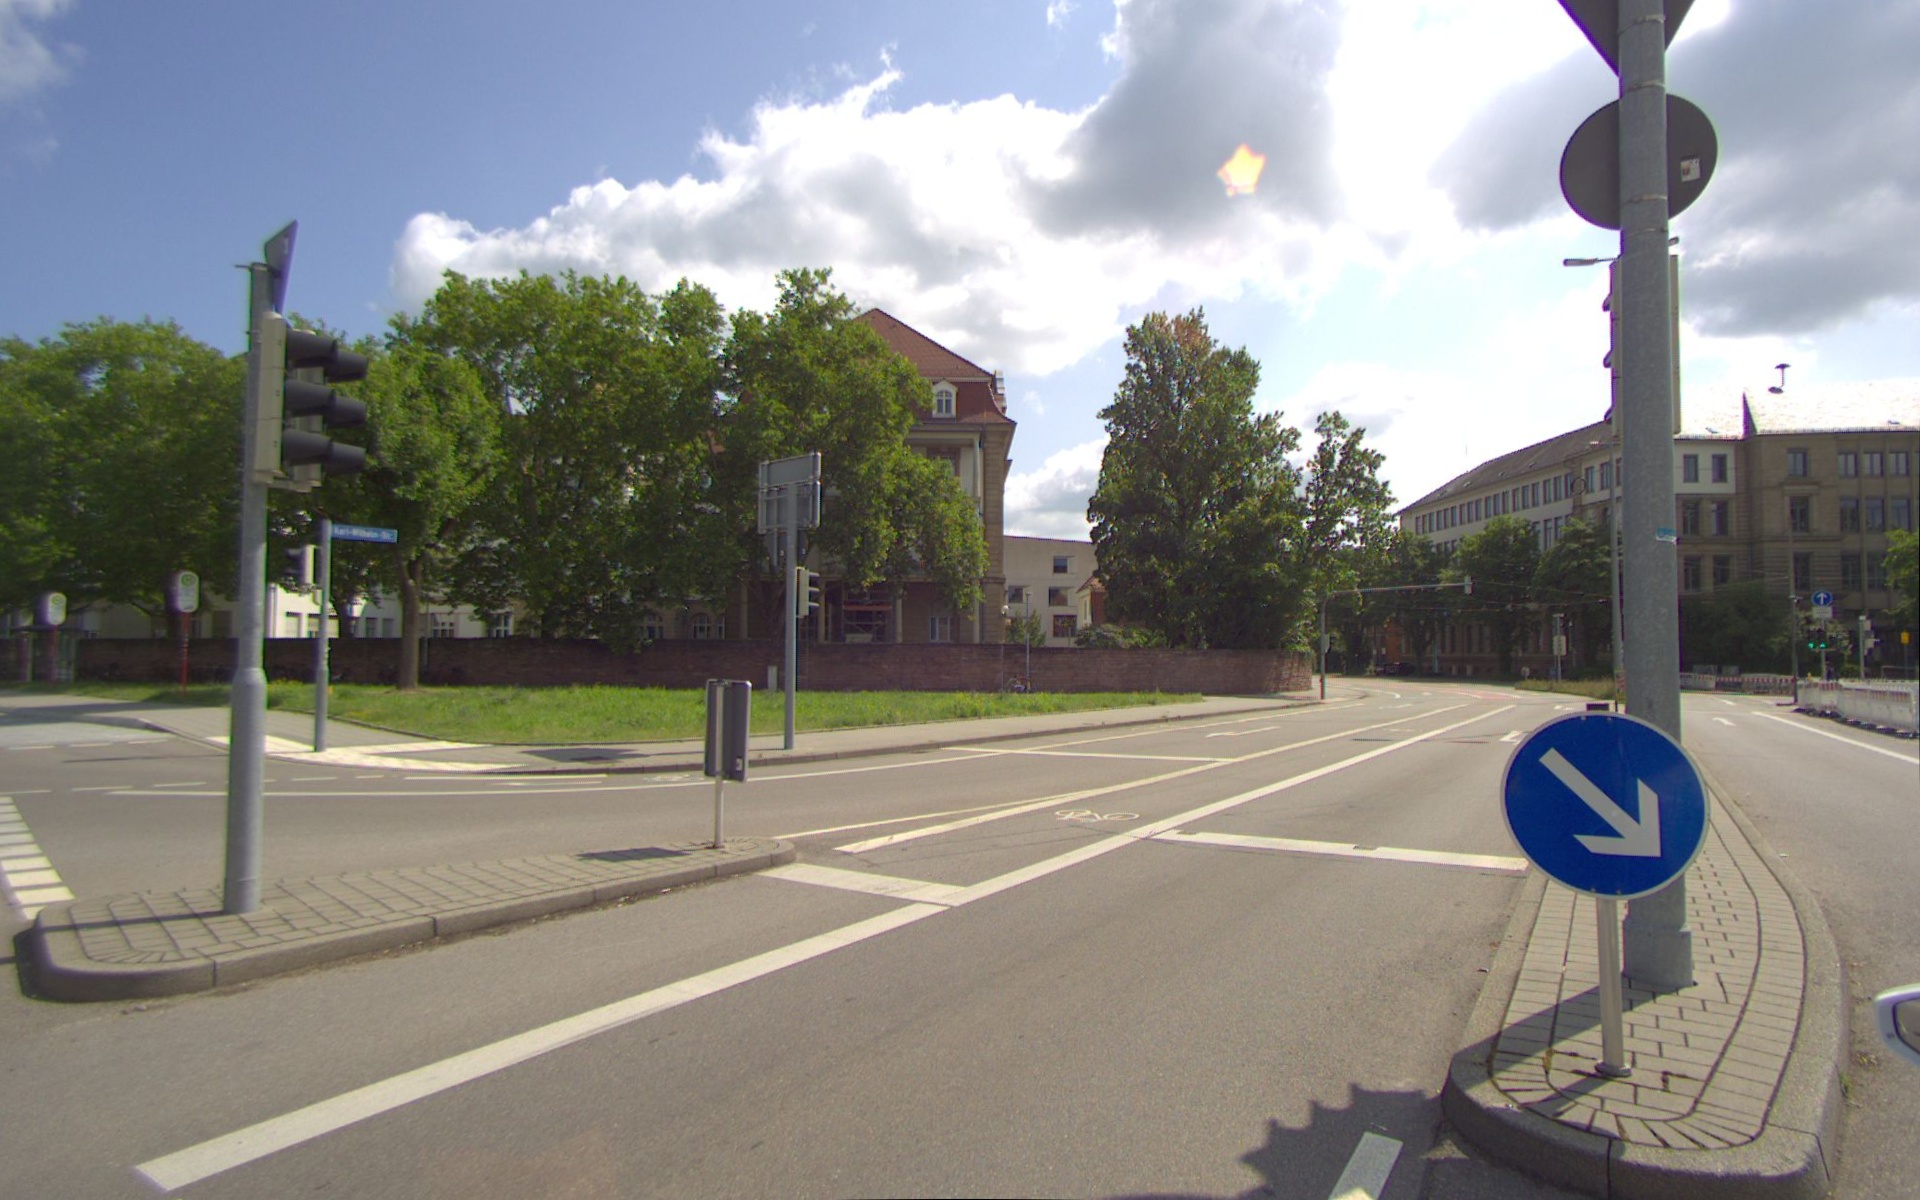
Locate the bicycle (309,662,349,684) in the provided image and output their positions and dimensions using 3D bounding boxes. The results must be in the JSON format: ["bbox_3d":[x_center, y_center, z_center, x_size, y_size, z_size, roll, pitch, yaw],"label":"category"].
[{"bbox_3d":[-30.632,3.545,48.764,1.924,1.024,0.472,-1,-3,16],"label":"bicycle"}]

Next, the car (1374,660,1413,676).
[{"bbox_3d":[48.263,7.596,111.827,3.927,1.706,1.801,-1,-3,28],"label":"car"}]

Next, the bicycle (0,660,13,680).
[{"bbox_3d":[-53.195,3.845,55.499,1.721,1.087,0.584,-1,-3,21],"label":"bicycle"}]

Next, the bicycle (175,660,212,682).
[{"bbox_3d":[-38.611,3.571,50.599,1.598,1.087,0.584,-1,-3,15],"label":"bicycle"}]

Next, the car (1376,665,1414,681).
[{"bbox_3d":[49.471,8.324,114.251,3.927,1.706,1.801,-1,-3,28],"label":"car"}]

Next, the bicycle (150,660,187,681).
[{"bbox_3d":[-40.199,3.581,51.008,1.598,1.087,0.584,-1,-3,15],"label":"bicycle"}]

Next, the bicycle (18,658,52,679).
[{"bbox_3d":[-49.766,3.674,54.014,1.721,1.087,0.584,-1,-3,20],"label":"bicycle"}]

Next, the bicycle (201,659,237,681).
[{"bbox_3d":[-37.024,3.506,50.192,1.598,1.087,0.584,-1,-3,15],"label":"bicycle"}]

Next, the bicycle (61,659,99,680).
[{"bbox_3d":[-46.294,3.668,52.834,1.720,1.087,0.584,-1,-3,15],"label":"bicycle"}]

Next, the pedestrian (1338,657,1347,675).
[{"bbox_3d":[44.256,7.596,116.268,0.684,2.040,0.896,0,-3,3],"label":"pedestrian"}]

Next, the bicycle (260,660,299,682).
[{"bbox_3d":[-33.401,3.479,49.297,1.833,1.087,0.584,-1,-3,19],"label":"bicycle"}]

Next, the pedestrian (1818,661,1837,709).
[{"bbox_3d":[34.231,3.337,39.631,0.492,1.874,0.526,-2,-4,44],"label":"pedestrian"}]

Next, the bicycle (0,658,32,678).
[{"bbox_3d":[-51.407,3.683,54.661,1.721,1.087,0.584,-1,-3,21],"label":"bicycle"}]

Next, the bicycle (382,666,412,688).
[{"bbox_3d":[-26.817,3.659,47.851,1.342,1.024,0.392,-1,-3,16],"label":"bicycle"}]

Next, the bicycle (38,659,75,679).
[{"bbox_3d":[-47.980,3.667,53.364,1.720,1.087,0.584,-1,-3,15],"label":"bicycle"}]

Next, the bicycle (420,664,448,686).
[{"bbox_3d":[-24.942,3.560,47.620,1.229,1.024,0.353,-1,-3,16],"label":"bicycle"}]

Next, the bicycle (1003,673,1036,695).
[{"bbox_3d":[2.757,3.924,46.747,1.496,1.005,0.393,1,-3,-12],"label":"bicycle"}]

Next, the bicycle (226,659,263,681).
[{"bbox_3d":[-35.414,3.466,49.749,1.598,1.087,0.584,-1,-3,15],"label":"bicycle"}]

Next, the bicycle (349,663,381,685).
[{"bbox_3d":[-28.536,3.558,48.182,1.427,1.024,0.472,-1,-3,16],"label":"bicycle"}]

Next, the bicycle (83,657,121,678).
[{"bbox_3d":[-44.607,3.526,52.238,1.720,1.087,0.584,-1,-3,15],"label":"bicycle"}]
